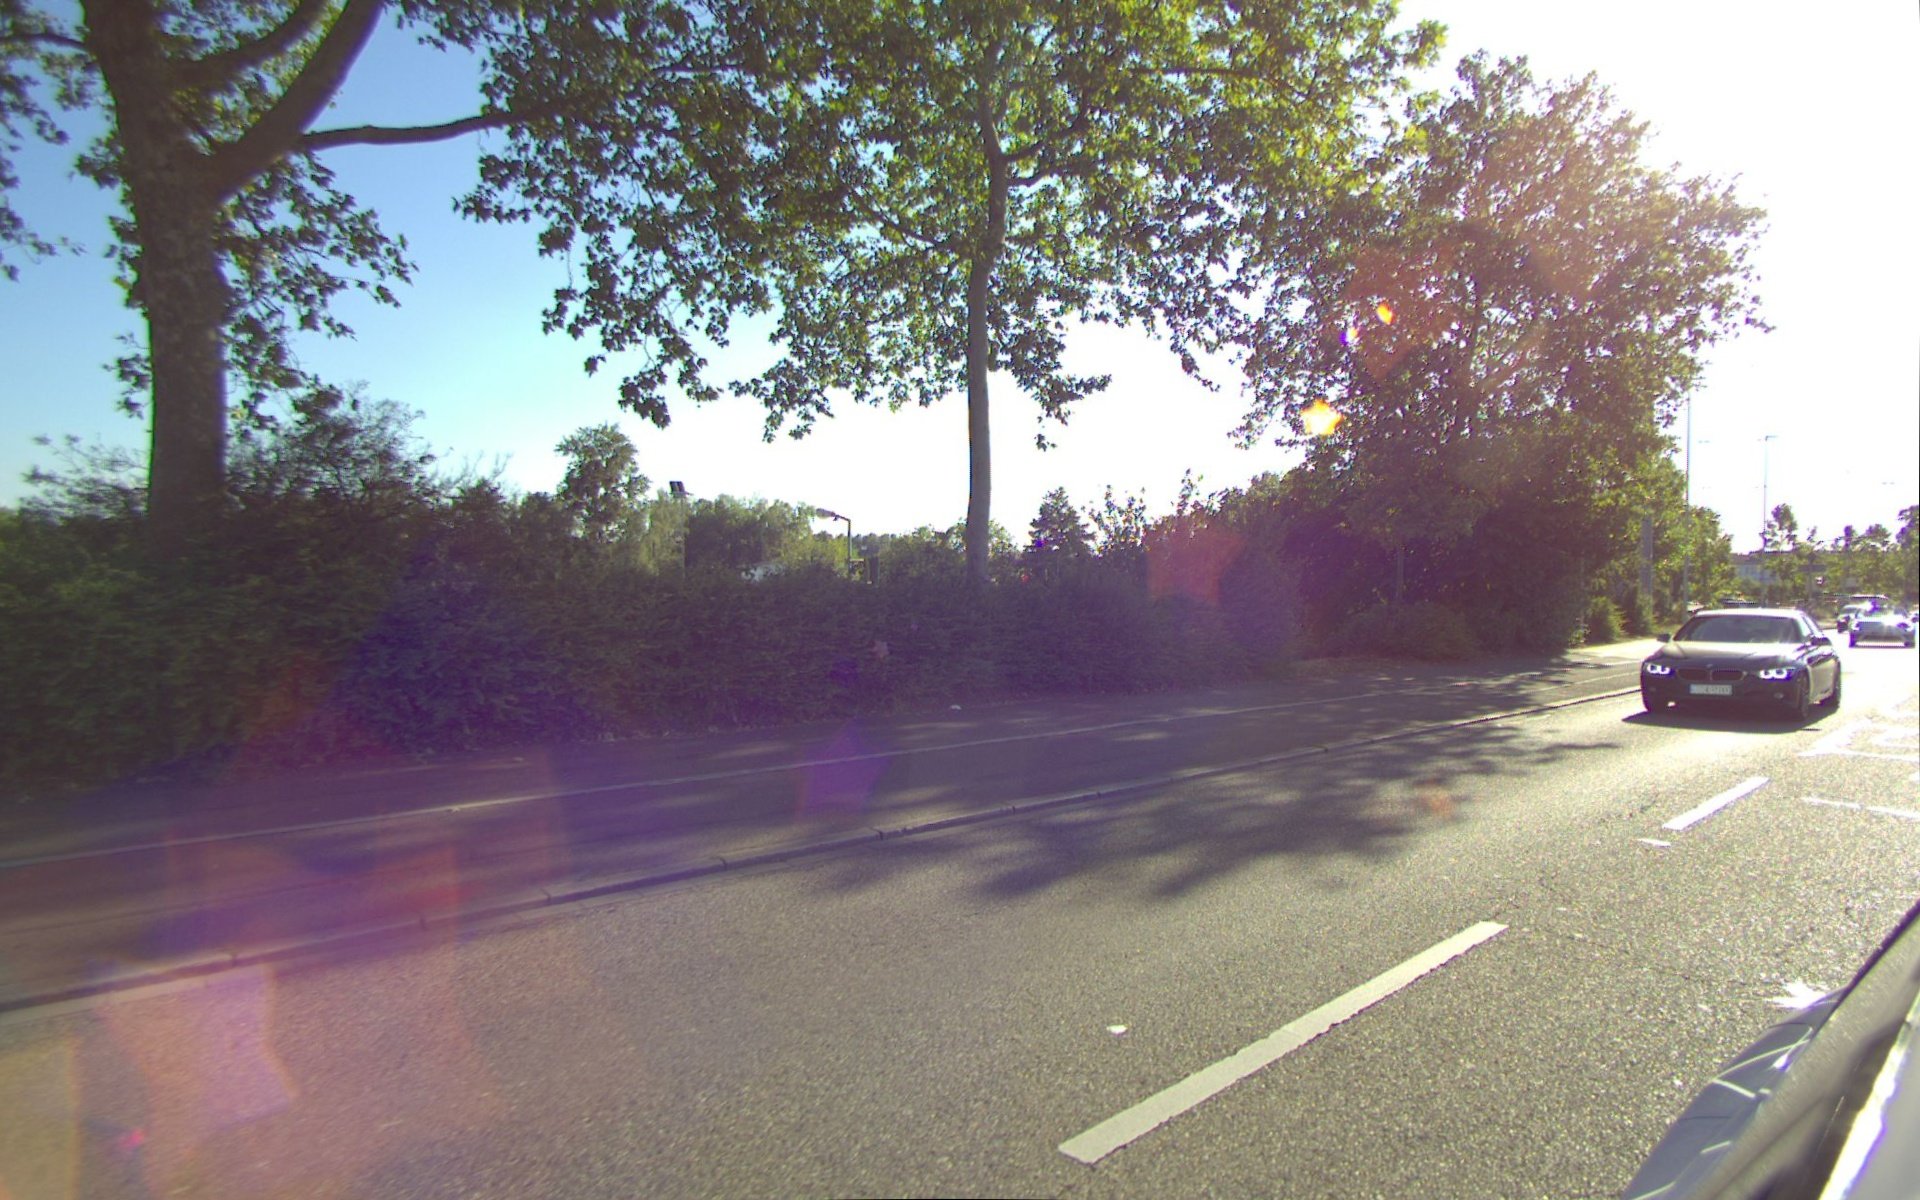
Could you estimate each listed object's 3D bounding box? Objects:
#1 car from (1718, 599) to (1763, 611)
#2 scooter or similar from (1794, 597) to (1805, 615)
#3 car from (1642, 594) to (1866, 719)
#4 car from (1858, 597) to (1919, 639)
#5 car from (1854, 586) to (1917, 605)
[{"bbox_3d":[106.515,0.725,138.179,1.827,1.589,4.654,0,-1,-42],"label":"car"},{"bbox_3d":[59.871,0.413,72.211,0.522,1.246,1.250,1,1,37],"label":"scooter or similar"},{"bbox_3d":[11.565,0.677,14.621,4.509,1.486,1.868,-1,1,-43],"label":"car"},{"bbox_3d":[33.491,0.615,36.210,1.852,1.441,3.916,0,0,45],"label":"car"},{"bbox_3d":[110.462,-0.509,120.863,2.067,2.048,5.344,0,-1,-41],"label":"car"}]
